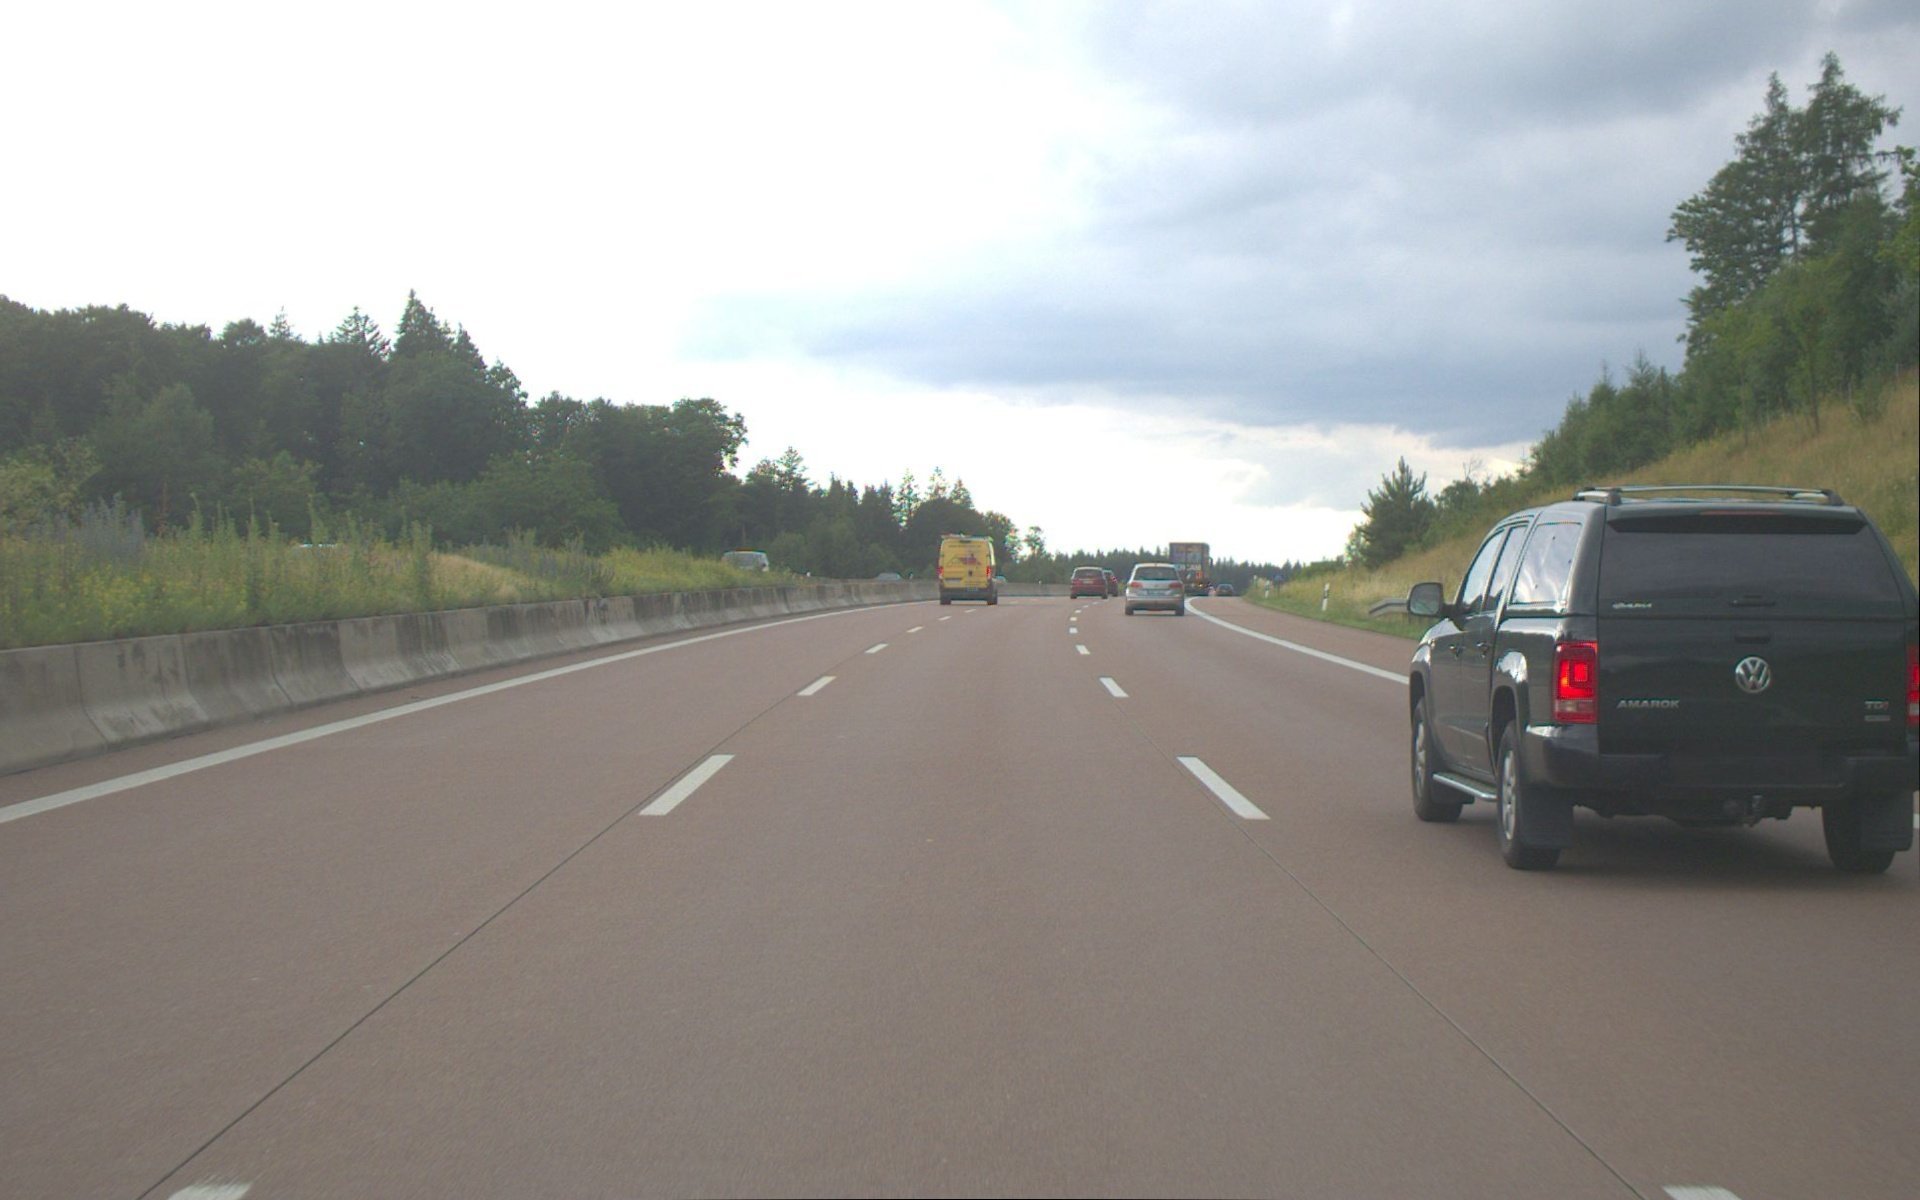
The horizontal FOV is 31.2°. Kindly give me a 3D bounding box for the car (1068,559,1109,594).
[{"bbox_3d":[6.694,-1.208,178.304,1.888,1.758,4.781,0,0,5],"label":"car"}]

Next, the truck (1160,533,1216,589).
[{"bbox_3d":[17.304,-2.915,260.525,3.681,3.899,12.813,1,-1,6],"label":"truck"}]

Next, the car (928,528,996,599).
[{"bbox_3d":[0.090,-1.400,133.121,2.458,2.697,5.613,0,0,2],"label":"car"}]

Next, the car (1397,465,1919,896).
[{"bbox_3d":[3.641,0.347,17.903,2.044,1.890,5.577,0,0,0],"label":"car"}]

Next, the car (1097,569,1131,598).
[{"bbox_3d":[9.363,-0.992,208.821,1.888,1.758,4.996,0,0,5],"label":"car"}]

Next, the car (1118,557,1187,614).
[{"bbox_3d":[5.812,-0.444,104.172,1.978,1.642,4.619,1,0,2],"label":"car"}]
